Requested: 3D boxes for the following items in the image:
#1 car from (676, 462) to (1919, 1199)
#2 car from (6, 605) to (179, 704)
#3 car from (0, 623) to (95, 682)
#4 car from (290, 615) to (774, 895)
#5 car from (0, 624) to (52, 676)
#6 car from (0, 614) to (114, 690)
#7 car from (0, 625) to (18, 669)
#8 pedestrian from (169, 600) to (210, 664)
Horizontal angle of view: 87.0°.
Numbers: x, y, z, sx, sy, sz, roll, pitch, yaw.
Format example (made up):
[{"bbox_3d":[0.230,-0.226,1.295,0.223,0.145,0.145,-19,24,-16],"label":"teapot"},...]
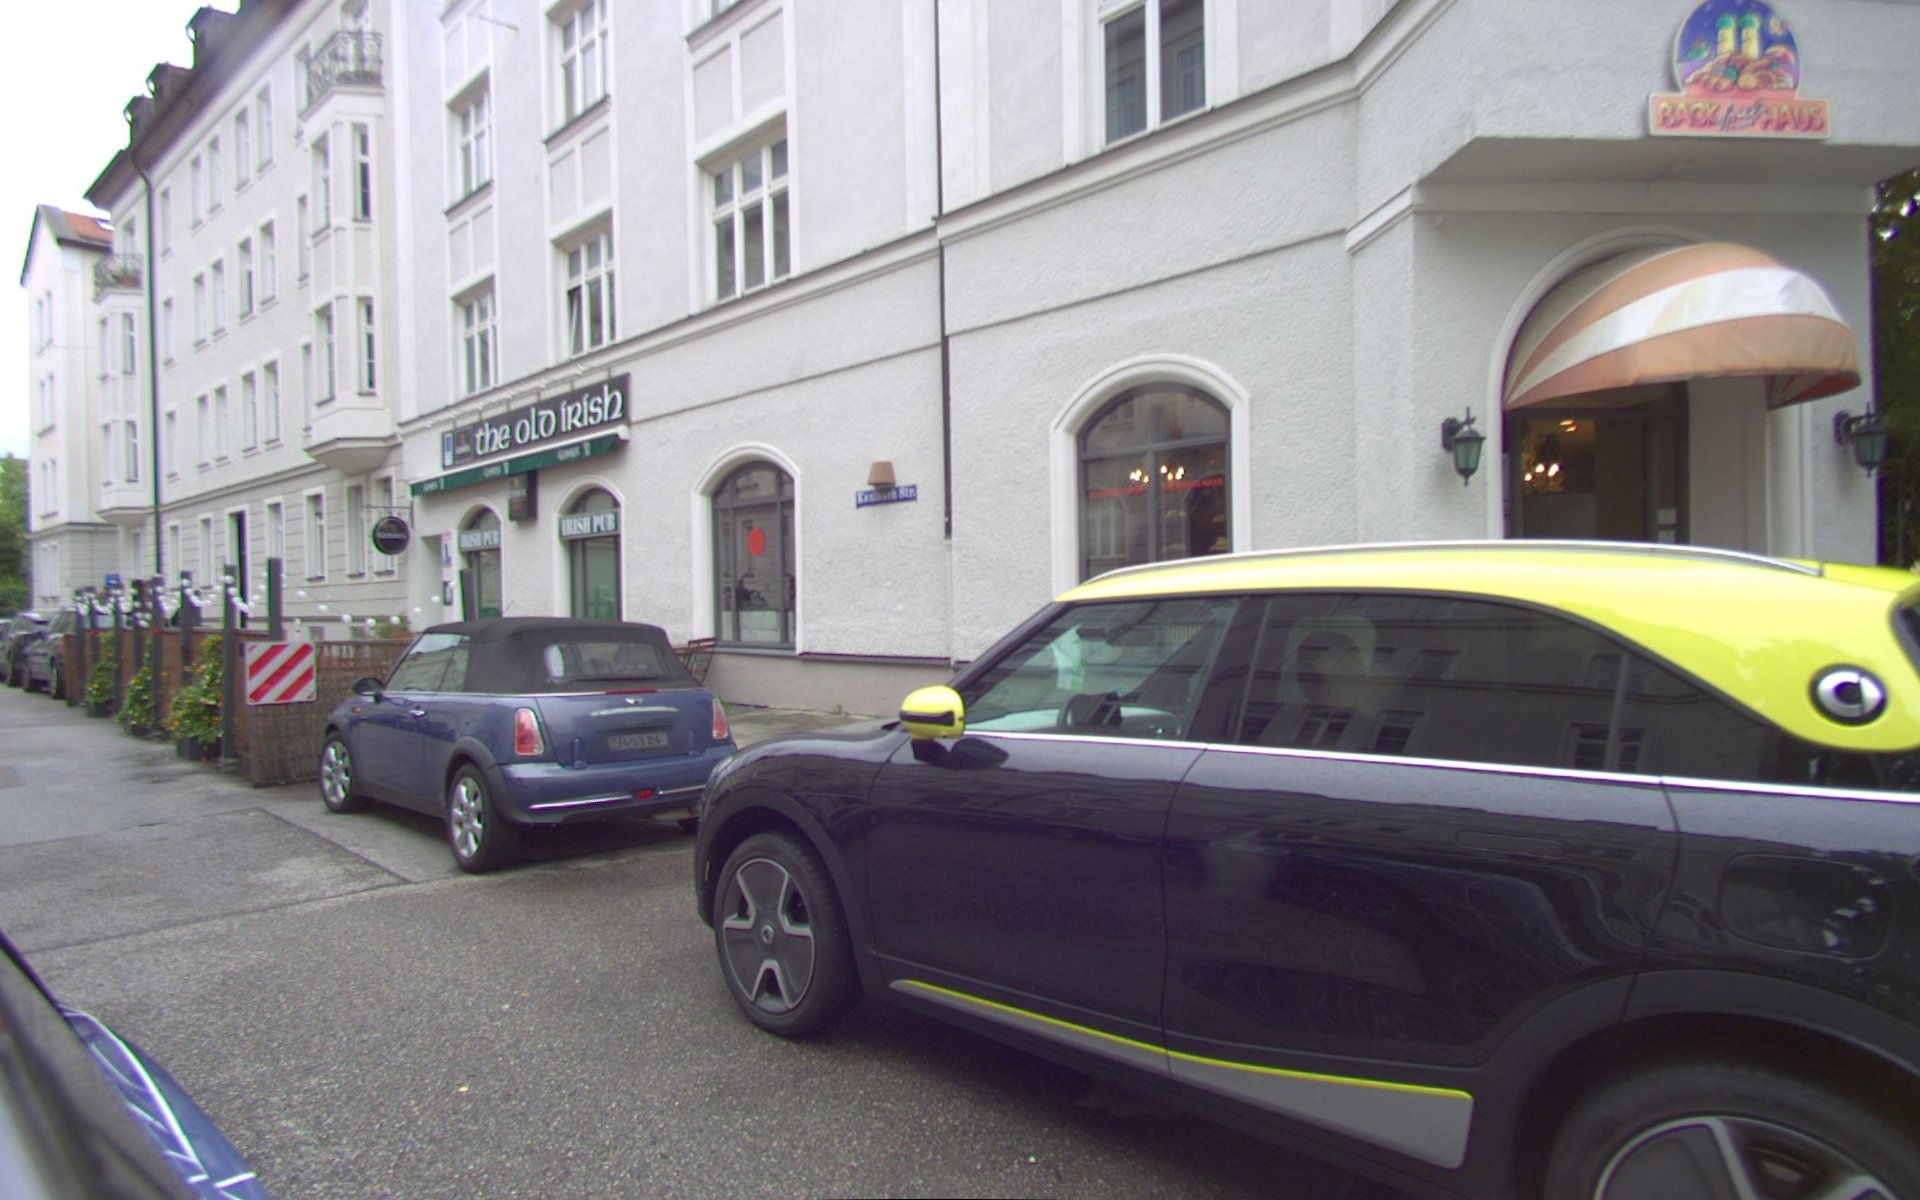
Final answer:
[{"bbox_3d":[0.987,0.630,2.980,3.944,1.609,1.659,-1,-2,42],"label":"car"},{"bbox_3d":[-16.720,1.019,19.445,4.270,1.686,1.729,-2,-3,39],"label":"car"},{"bbox_3d":[-24.077,1.306,26.049,4.435,1.395,1.794,-1,-2,36],"label":"car"},{"bbox_3d":[-3.173,0.815,7.075,4.001,1.401,1.688,-1,-2,44],"label":"car"},{"bbox_3d":[-28.033,1.416,29.423,4.507,1.430,1.776,-1,-3,40],"label":"car"},{"bbox_3d":[-20.423,1.101,22.508,4.177,1.498,1.724,-1,0,40],"label":"car"},{"bbox_3d":[-32.535,1.547,33.063,4.695,1.377,1.832,-2,0,38],"label":"car"},{"bbox_3d":[-21.232,0.879,27.908,0.654,1.720,0.702,-2,0,-17],"label":"pedestrian"}]
